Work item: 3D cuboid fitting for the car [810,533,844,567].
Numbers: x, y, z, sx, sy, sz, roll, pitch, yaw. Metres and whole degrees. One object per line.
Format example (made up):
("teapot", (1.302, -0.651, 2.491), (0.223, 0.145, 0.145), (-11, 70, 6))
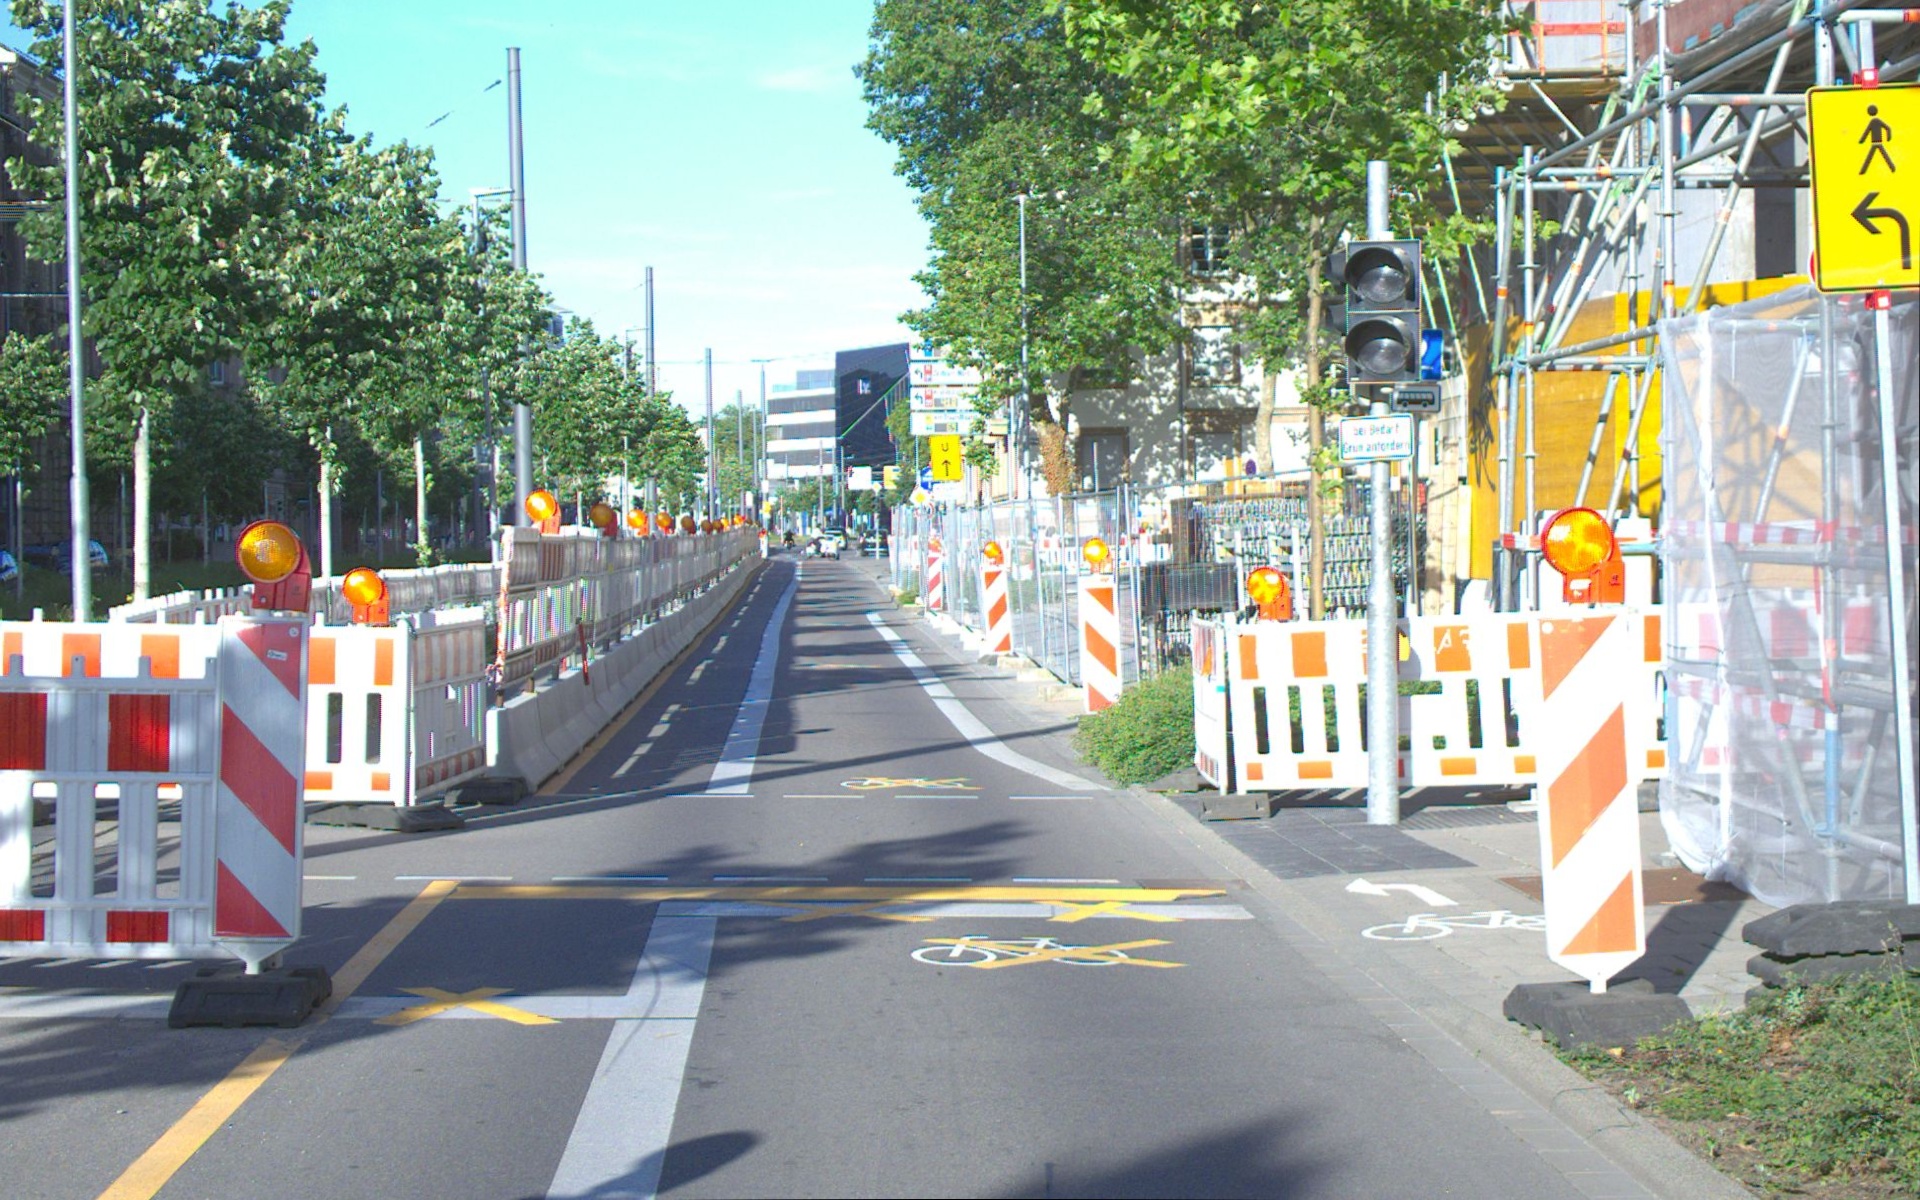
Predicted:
("car", (-7.464, -2.814, 192.927), (1.883, 1.836, 3.668), (-1, 1, -2))

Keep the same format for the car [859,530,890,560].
("car", (-5.499, -3.518, 219.958), (1.883, 1.836, 3.668), (-1, 1, -2))

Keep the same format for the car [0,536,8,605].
("car", (-21.169, -0.593, 71.829), (1.595, 1.478, 3.623), (-1, 1, -1))
